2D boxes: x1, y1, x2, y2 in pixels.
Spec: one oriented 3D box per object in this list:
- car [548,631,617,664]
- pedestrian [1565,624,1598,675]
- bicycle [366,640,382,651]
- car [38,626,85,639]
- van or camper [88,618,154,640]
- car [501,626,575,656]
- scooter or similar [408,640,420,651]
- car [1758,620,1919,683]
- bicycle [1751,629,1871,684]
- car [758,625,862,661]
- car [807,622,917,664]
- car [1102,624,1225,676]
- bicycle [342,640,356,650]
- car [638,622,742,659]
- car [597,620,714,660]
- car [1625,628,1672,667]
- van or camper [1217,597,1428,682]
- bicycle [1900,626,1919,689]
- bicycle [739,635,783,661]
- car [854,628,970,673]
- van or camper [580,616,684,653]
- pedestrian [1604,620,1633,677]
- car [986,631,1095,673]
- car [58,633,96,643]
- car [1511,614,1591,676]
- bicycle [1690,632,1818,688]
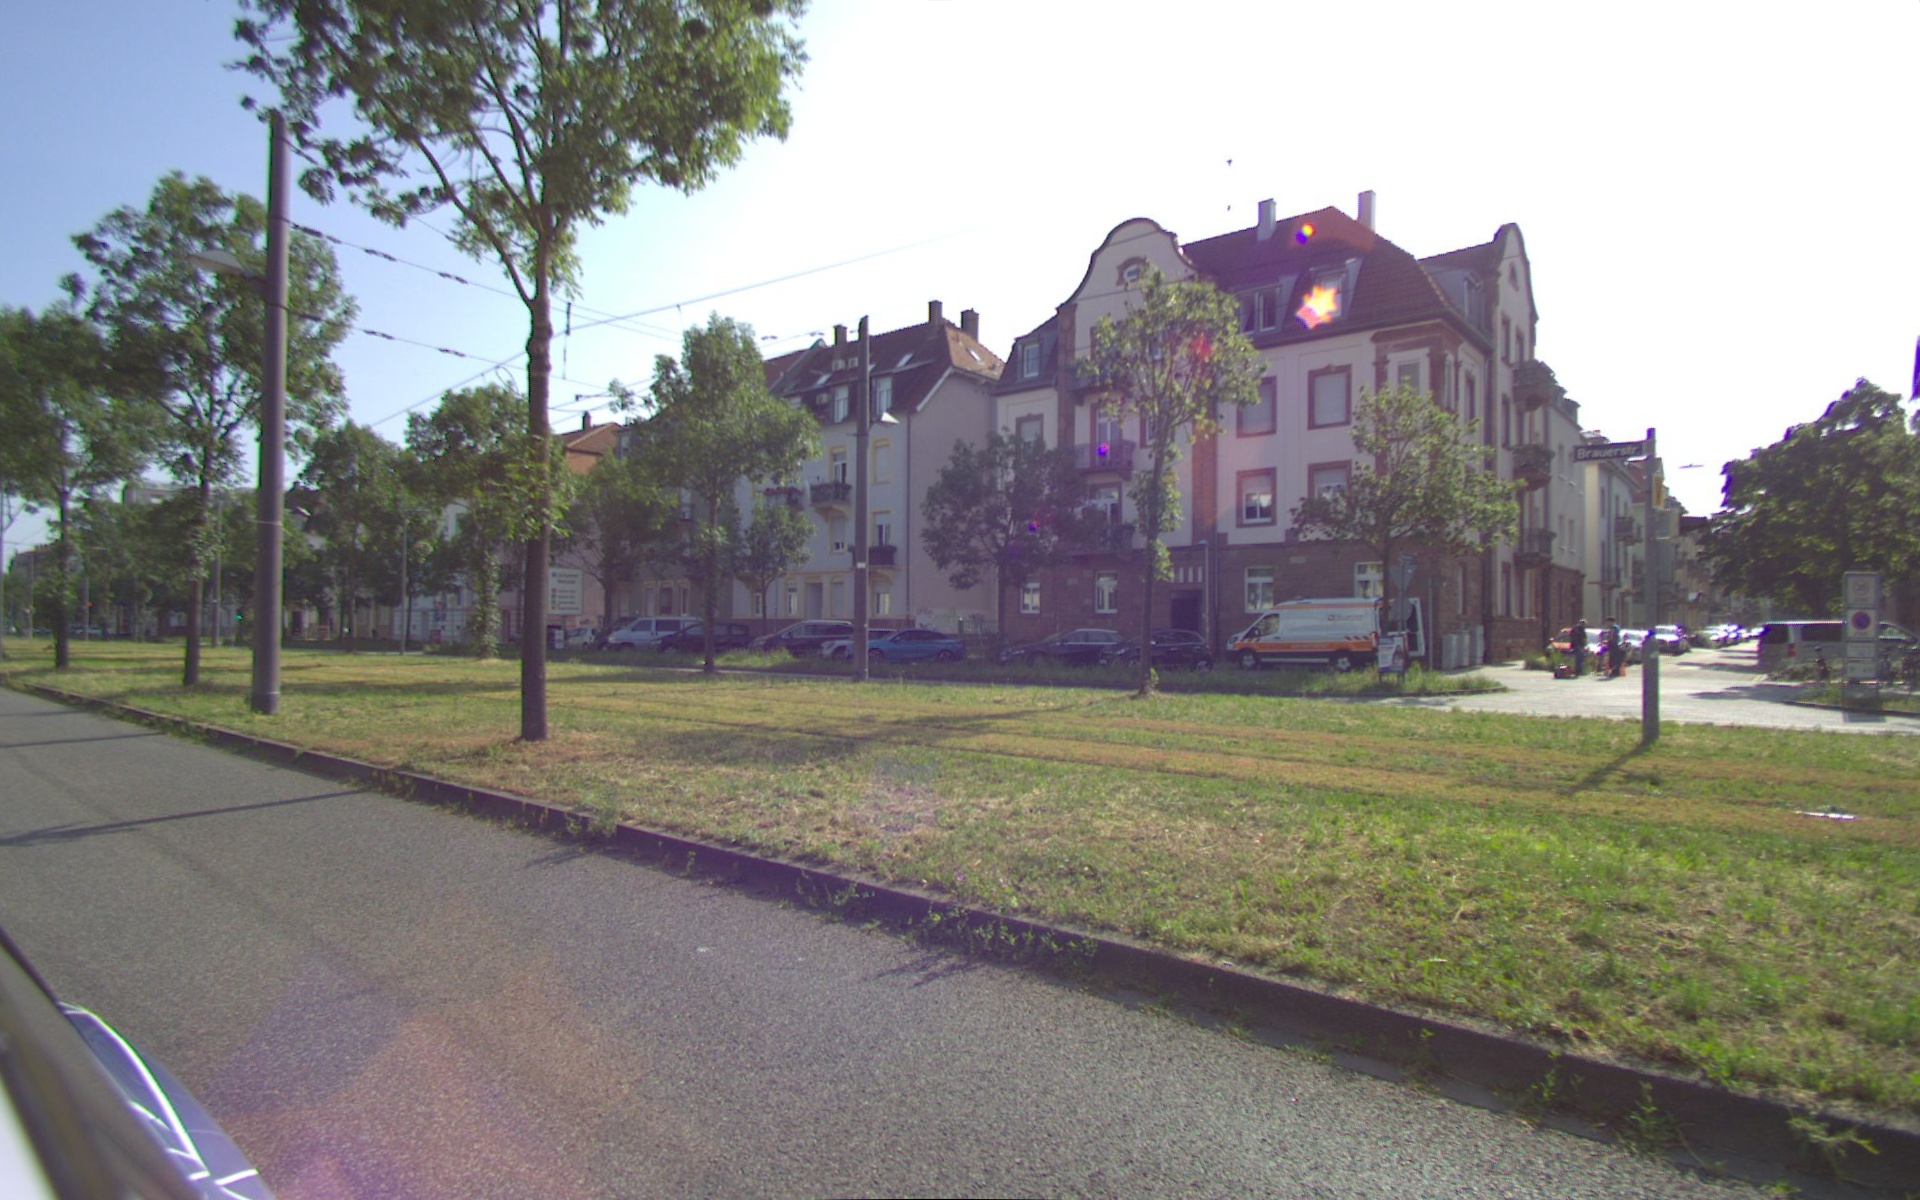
[{"bbox_3d":[-20.721,2.585,55.520,4.156,1.640,1.869,-1,0,43],"label":"car"},{"bbox_3d":[19.061,1.509,31.035,0.726,1.534,0.630,-1,0,44],"label":"pedestrian"},{"bbox_3d":[-48.173,3.739,83.188,1.945,0.863,0.443,-1,0,39],"label":"bicycle"},{"bbox_3d":[-134.252,4.878,151.208,4.868,1.739,1.862,-1,0,-15],"label":"car"},{"bbox_3d":[-104.128,3.594,125.681,5.826,2.593,2.205,-1,0,-15],"label":"van or camper"},{"bbox_3d":[-24.819,2.363,59.433,4.770,1.640,1.974,-1,0,39],"label":"car"},{"bbox_3d":[-41.487,3.444,76.851,0.596,0.819,1.223,-1,0,-39],"label":"scooter or similar"},{"bbox_3d":[27.613,1.566,31.157,4.288,1.780,2.008,-1,0,13],"label":"car"},{"bbox_3d":[23.272,1.522,27.675,3.007,1.370,0.983,-1,0,-16],"label":"bicycle"},{"bbox_3d":[-6.064,1.711,40.893,3.932,1.278,1.644,-1,0,-17],"label":"car"},{"bbox_3d":[-3.756,1.600,38.554,3.932,1.427,1.581,-1,0,-15],"label":"car"},{"bbox_3d":[5.870,1.407,29.286,3.111,1.336,1.501,-1,0,-16],"label":"car"},{"bbox_3d":[-52.825,3.915,87.454,1.945,0.795,0.433,-1,0,39],"label":"bicycle"},{"bbox_3d":[-12.079,1.795,45.382,4.401,1.430,1.981,-1,0,-14],"label":"car"},{"bbox_3d":[-14.279,1.849,47.522,5.132,1.635,2.063,-1,0,-19],"label":"car"},{"bbox_3d":[40.153,2.735,58.995,1.998,2.029,3.948,-1,0,38],"label":"car"},{"bbox_3d":[12.022,1.237,33.907,6.351,2.586,2.018,-1,0,40],"label":"van or camper"},{"bbox_3d":[24.730,1.443,25.768,1.104,1.472,2.643,-1,0,44],"label":"bicycle"},{"bbox_3d":[-8.575,2.062,43.665,1.993,1.057,0.462,-1,0,27],"label":"bicycle"},{"bbox_3d":[-1.771,1.805,36.821,3.932,1.427,1.582,-1,0,-16],"label":"car"},{"bbox_3d":[-16.118,1.687,49.929,4.767,1.635,2.009,-1,0,-17],"label":"van or camper"},{"bbox_3d":[19.696,1.434,30.255,0.619,1.678,0.575,-1,0,44],"label":"pedestrian"},{"bbox_3d":[2.554,1.634,32.298,3.110,1.169,1.501,-1,0,-17],"label":"car"},{"bbox_3d":[-124.183,5.365,142.405,3.624,1.251,1.667,-1,0,-15],"label":"car"},{"bbox_3d":[21.213,1.520,36.244,2.012,1.953,4.616,-1,0,36],"label":"car"},{"bbox_3d":[22.776,1.714,29.051,3.169,1.472,0.932,-1,0,-8],"label":"bicycle"}]
